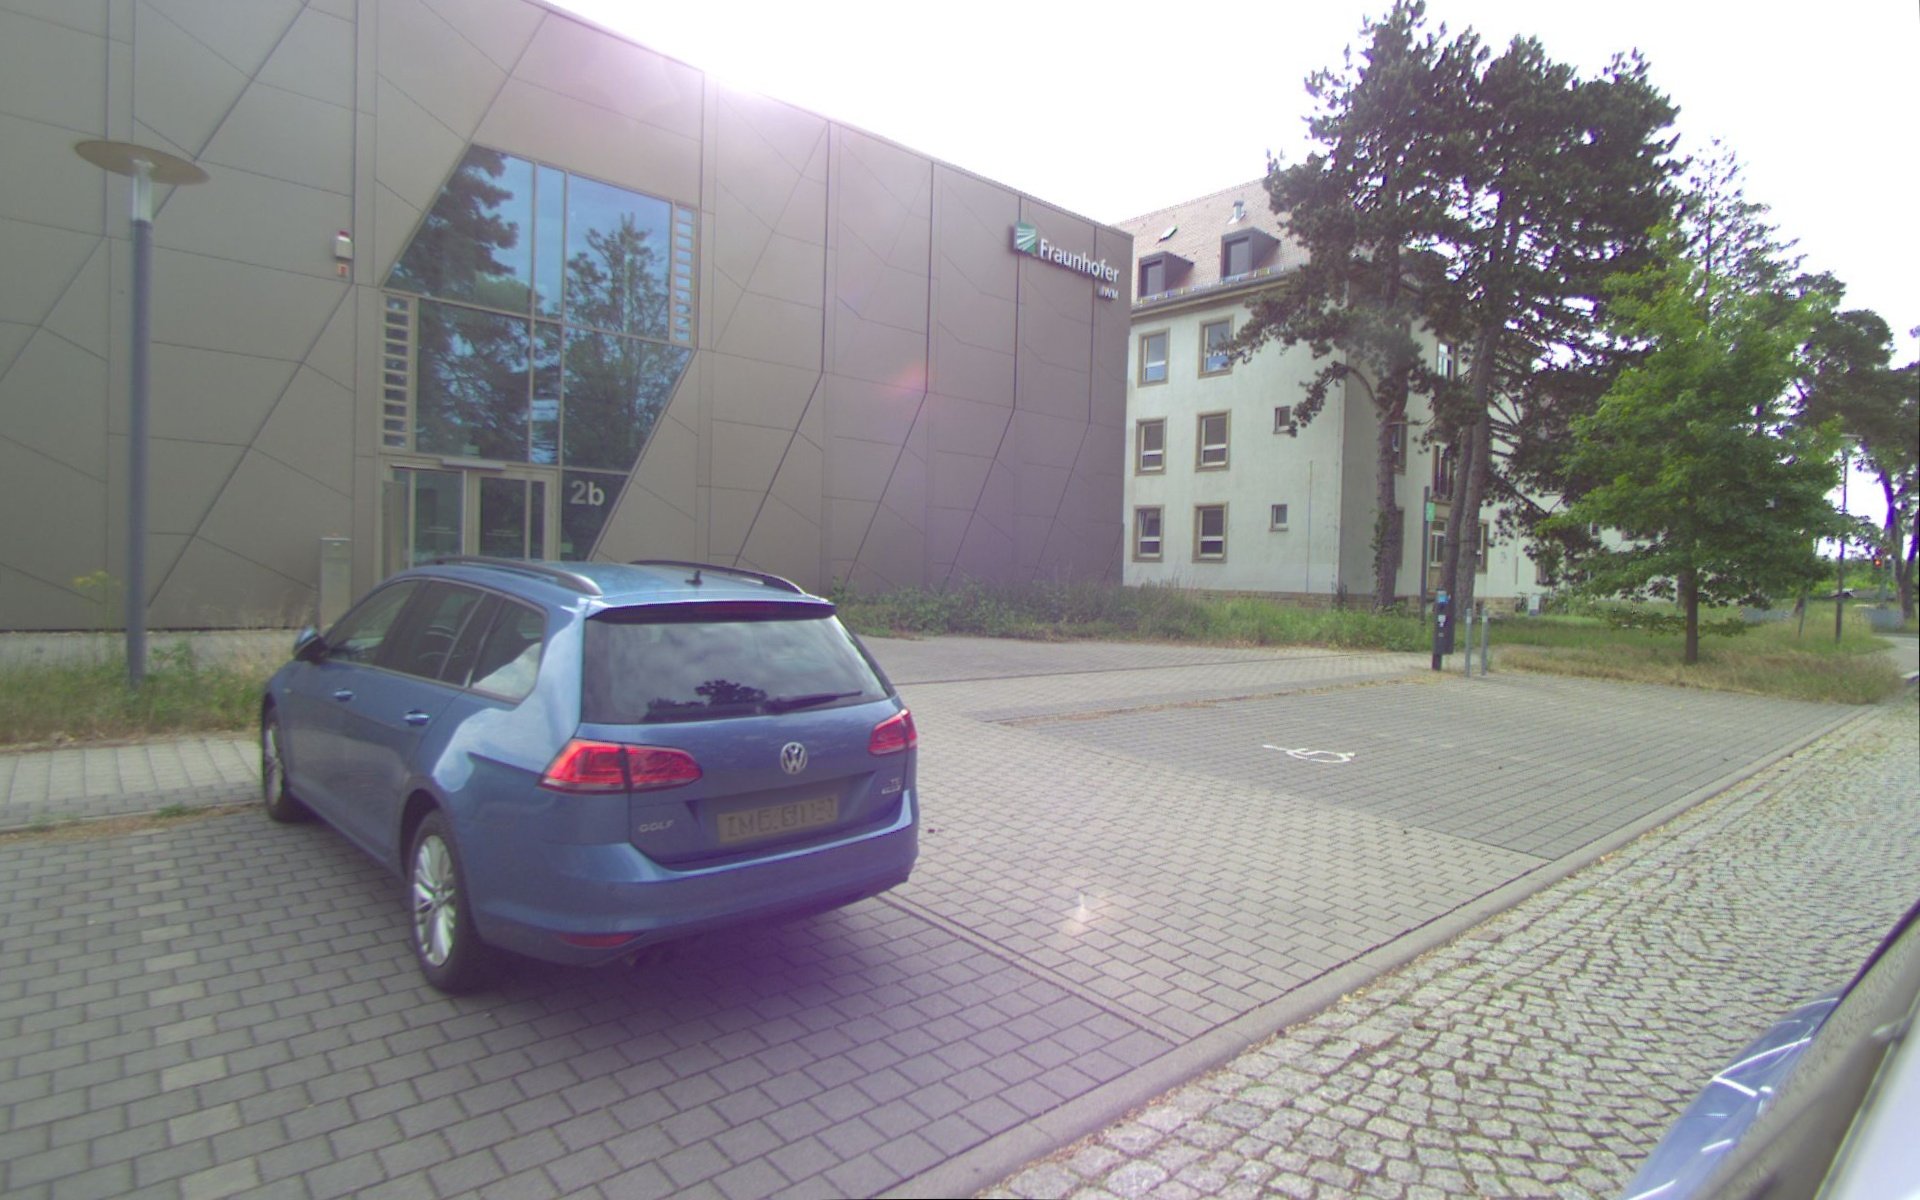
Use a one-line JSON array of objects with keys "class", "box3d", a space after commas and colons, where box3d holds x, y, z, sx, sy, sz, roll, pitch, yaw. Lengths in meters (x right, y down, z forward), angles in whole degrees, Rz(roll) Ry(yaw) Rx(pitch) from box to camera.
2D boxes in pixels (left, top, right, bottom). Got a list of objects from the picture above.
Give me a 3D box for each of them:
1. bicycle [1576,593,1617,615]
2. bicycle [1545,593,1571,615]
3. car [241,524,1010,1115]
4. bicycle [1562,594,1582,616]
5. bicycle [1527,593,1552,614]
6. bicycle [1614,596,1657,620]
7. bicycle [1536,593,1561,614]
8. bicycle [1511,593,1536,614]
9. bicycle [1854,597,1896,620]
[{"class": "bicycle", "box3d": [32.683, 0.192, 51.984, 0.603, 1.099, 1.655, 1, 1, -39]}, {"class": "bicycle", "box3d": [32.253, 0.228, 54.562, 1.670, 1.142, 0.477, 1, 1, -34]}, {"class": "car", "box3d": [-2.029, 0.476, 4.966, 1.800, 1.493, 4.497, 0, 4, -44]}, {"class": "bicycle", "box3d": [32.832, 0.263, 54.249, 1.629, 1.142, 0.476, 0, 1, -43]}, {"class": "bicycle", "box3d": [31.678, 0.196, 55.350, 1.697, 1.142, 0.448, 1, 1, -34]}, {"class": "bicycle", "box3d": [33.902, 0.395, 50.805, 0.604, 1.099, 1.652, 1, 1, -45]}, {"class": "bicycle", "box3d": [31.945, 0.199, 54.949, 1.669, 1.142, 0.448, 1, 1, -34]}, {"class": "bicycle", "box3d": [31.120, 0.195, 55.913, 1.697, 1.142, 0.448, 1, 1, -34]}, {"class": "bicycle", "box3d": [45.107, 0.406, 49.892, 1.622, 1.099, 0.616, 1, 1, -10]}]
